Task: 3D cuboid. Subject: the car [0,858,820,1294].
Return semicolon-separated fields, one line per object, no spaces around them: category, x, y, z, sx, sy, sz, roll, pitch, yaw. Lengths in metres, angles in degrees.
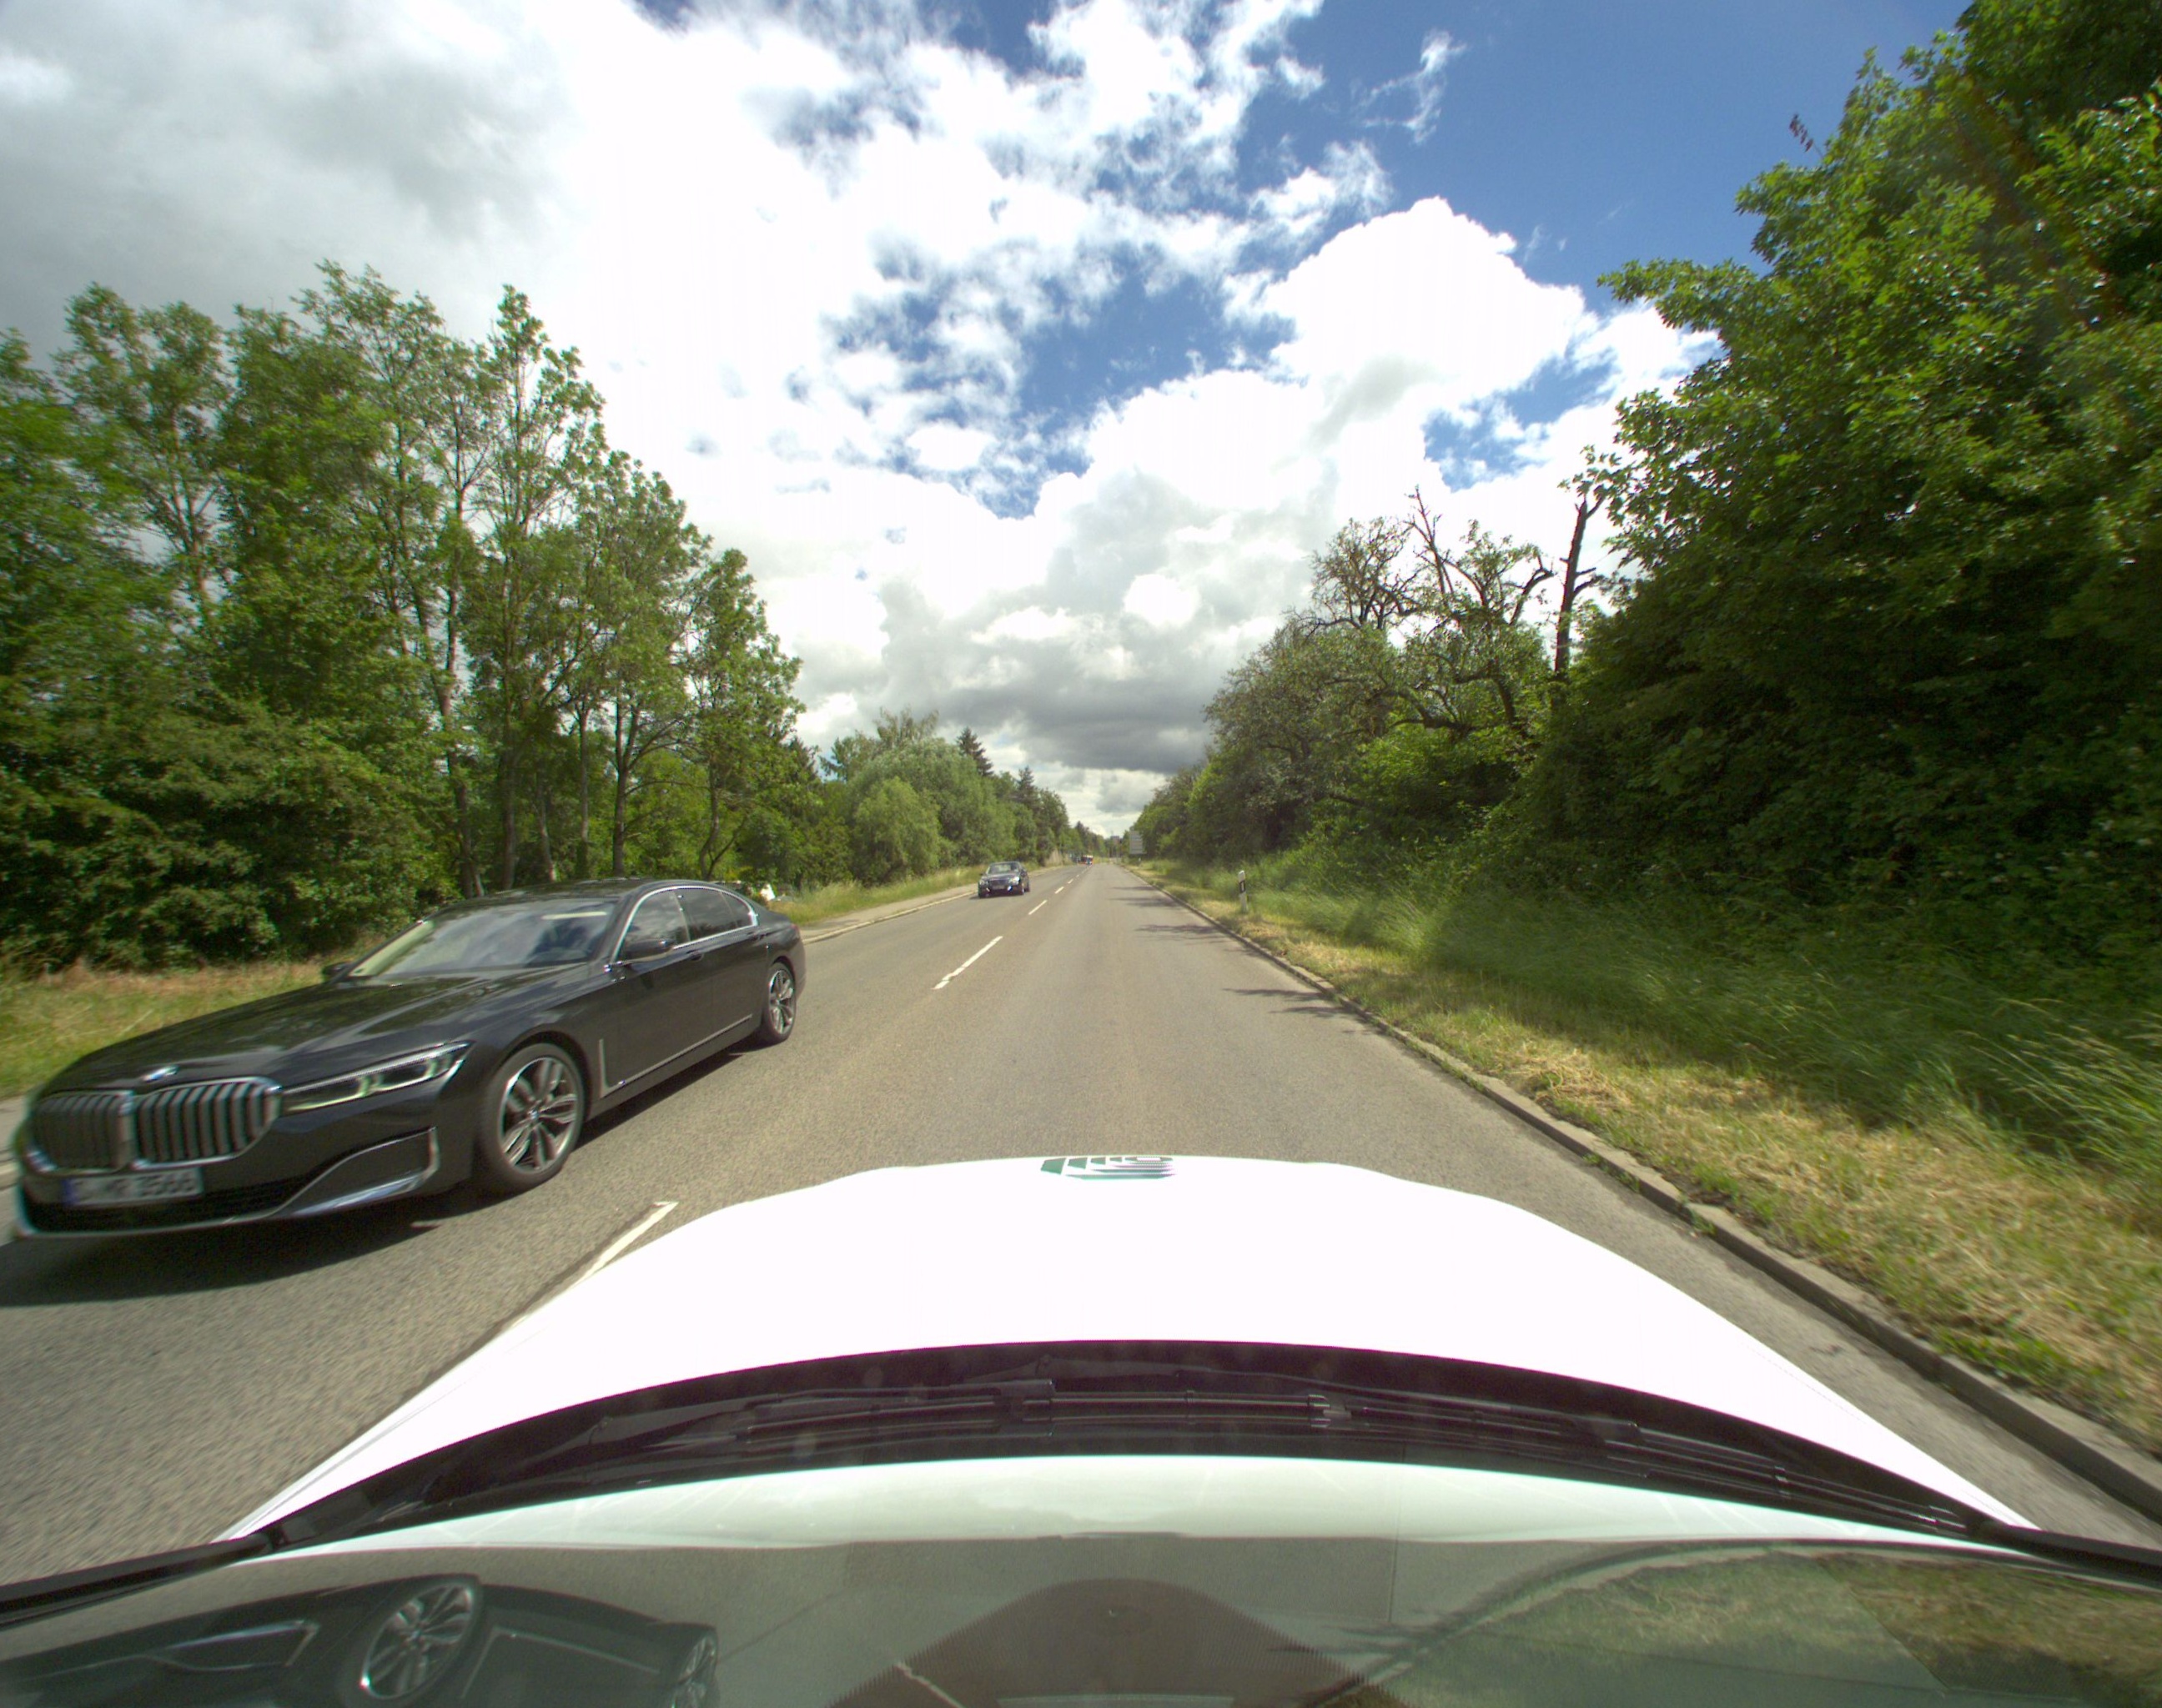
car;-3.507;0.861;5.440;1.878;1.491;4.717;-4;0;0

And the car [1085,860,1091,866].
car;2.154;2.764;250.677;1.745;1.464;4.001;-3;-1;1

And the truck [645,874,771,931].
truck;-20.771;2.689;45.456;6.165;2.609;2.006;-4;-1;10

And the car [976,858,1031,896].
car;-3.203;0.934;34.690;1.778;1.334;4.622;-4;0;0

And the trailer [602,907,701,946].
trailer;-22.059;3.717;41.902;3.962;1.555;2.006;-4;-1;10
